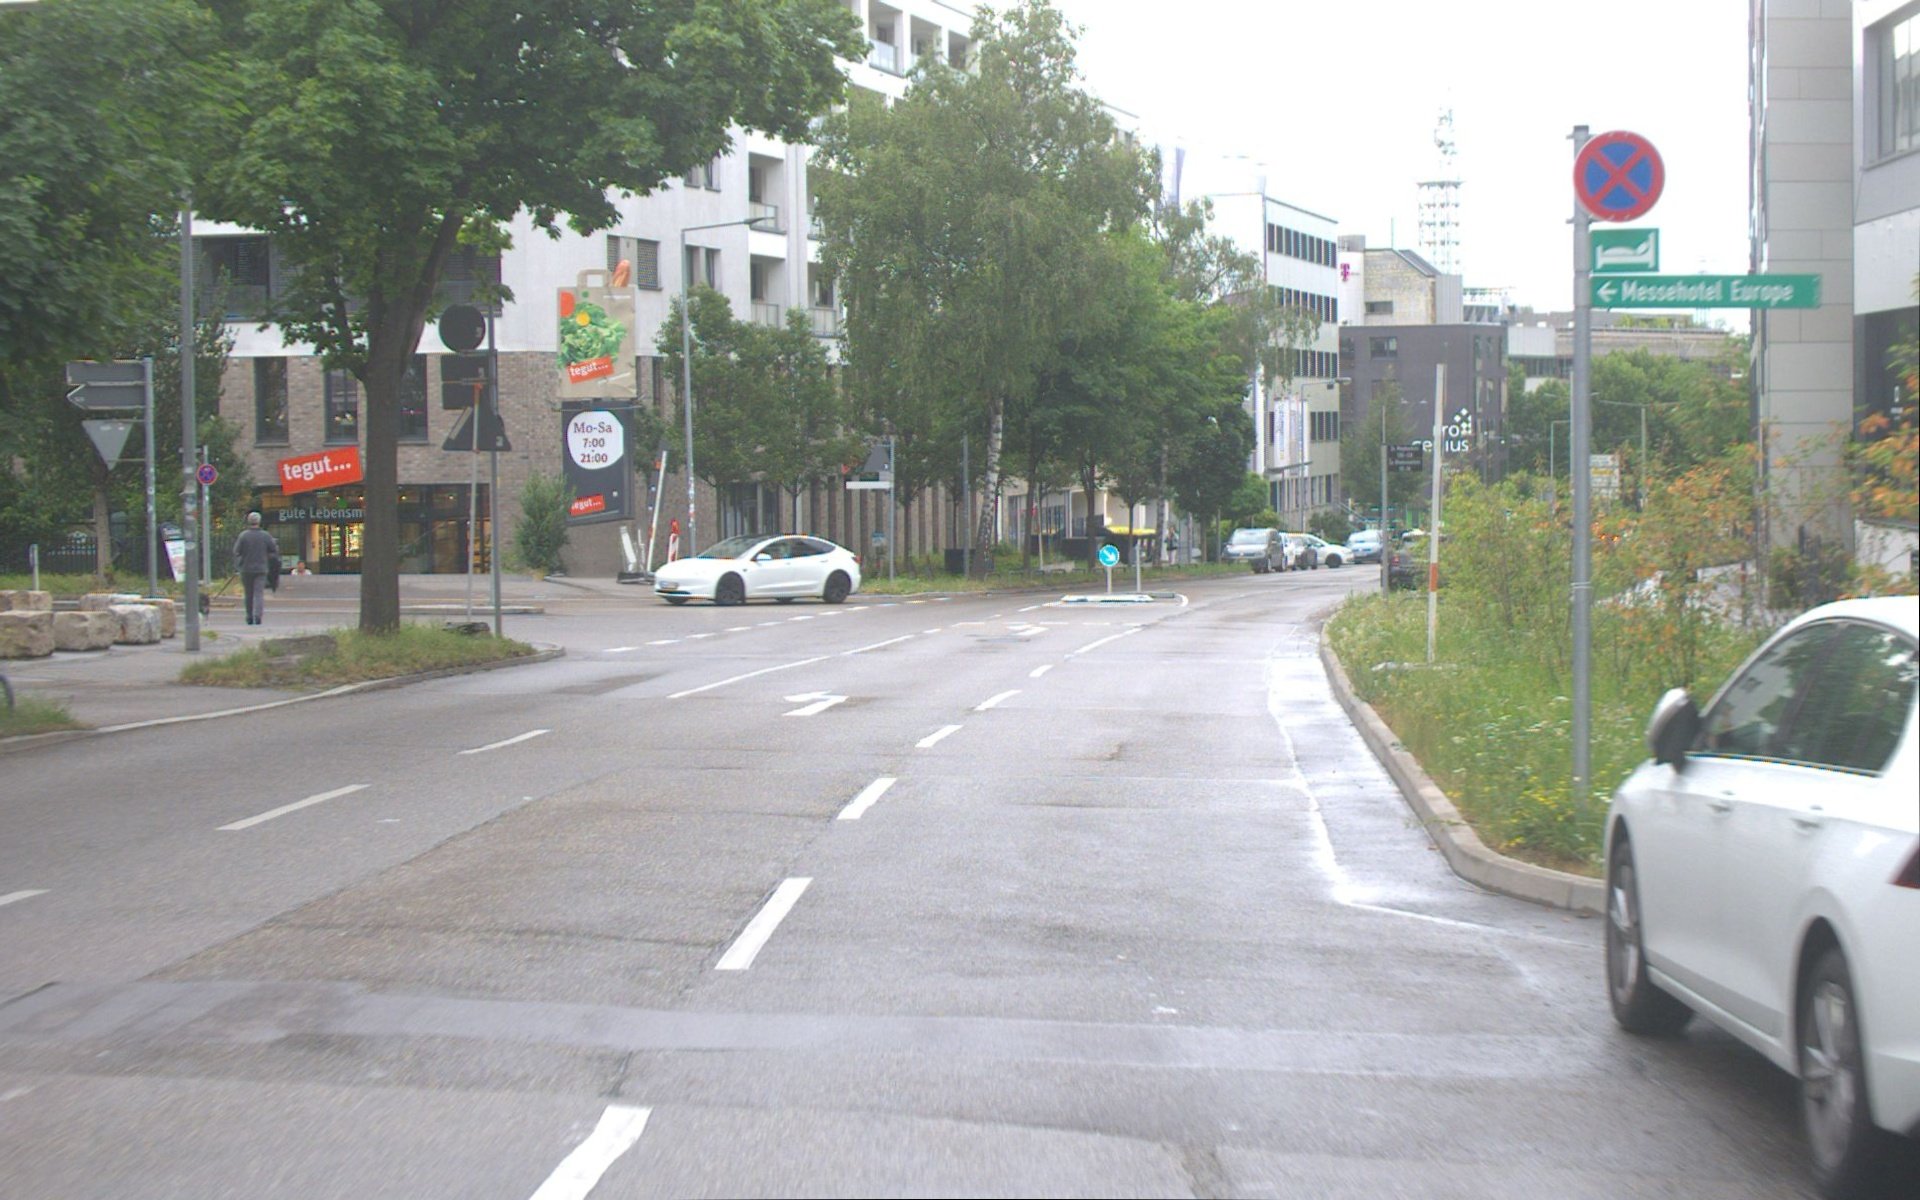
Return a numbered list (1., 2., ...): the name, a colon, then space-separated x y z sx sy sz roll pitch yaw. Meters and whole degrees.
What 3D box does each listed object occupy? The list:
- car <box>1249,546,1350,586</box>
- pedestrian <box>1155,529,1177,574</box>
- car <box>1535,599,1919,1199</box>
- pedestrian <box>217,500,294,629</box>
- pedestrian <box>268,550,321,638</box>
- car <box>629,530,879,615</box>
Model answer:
1. car: 14.160 -1.436 143.287 3.985 1.571 1.999 1 1 10
2. pedestrian: 7.746 -1.808 129.298 0.708 1.677 0.956 1 1 10
3. car: 3.024 0.769 9.738 2.039 1.459 4.502 2 0 1
4. pedestrian: -11.185 -0.557 54.647 1.055 2.007 1.100 2 0 -7
5. pedestrian: -15.590 -0.150 80.562 0.883 2.007 1.117 2 1 5
6. car: -4.193 -0.553 70.391 4.806 1.655 2.063 1 0 -40
